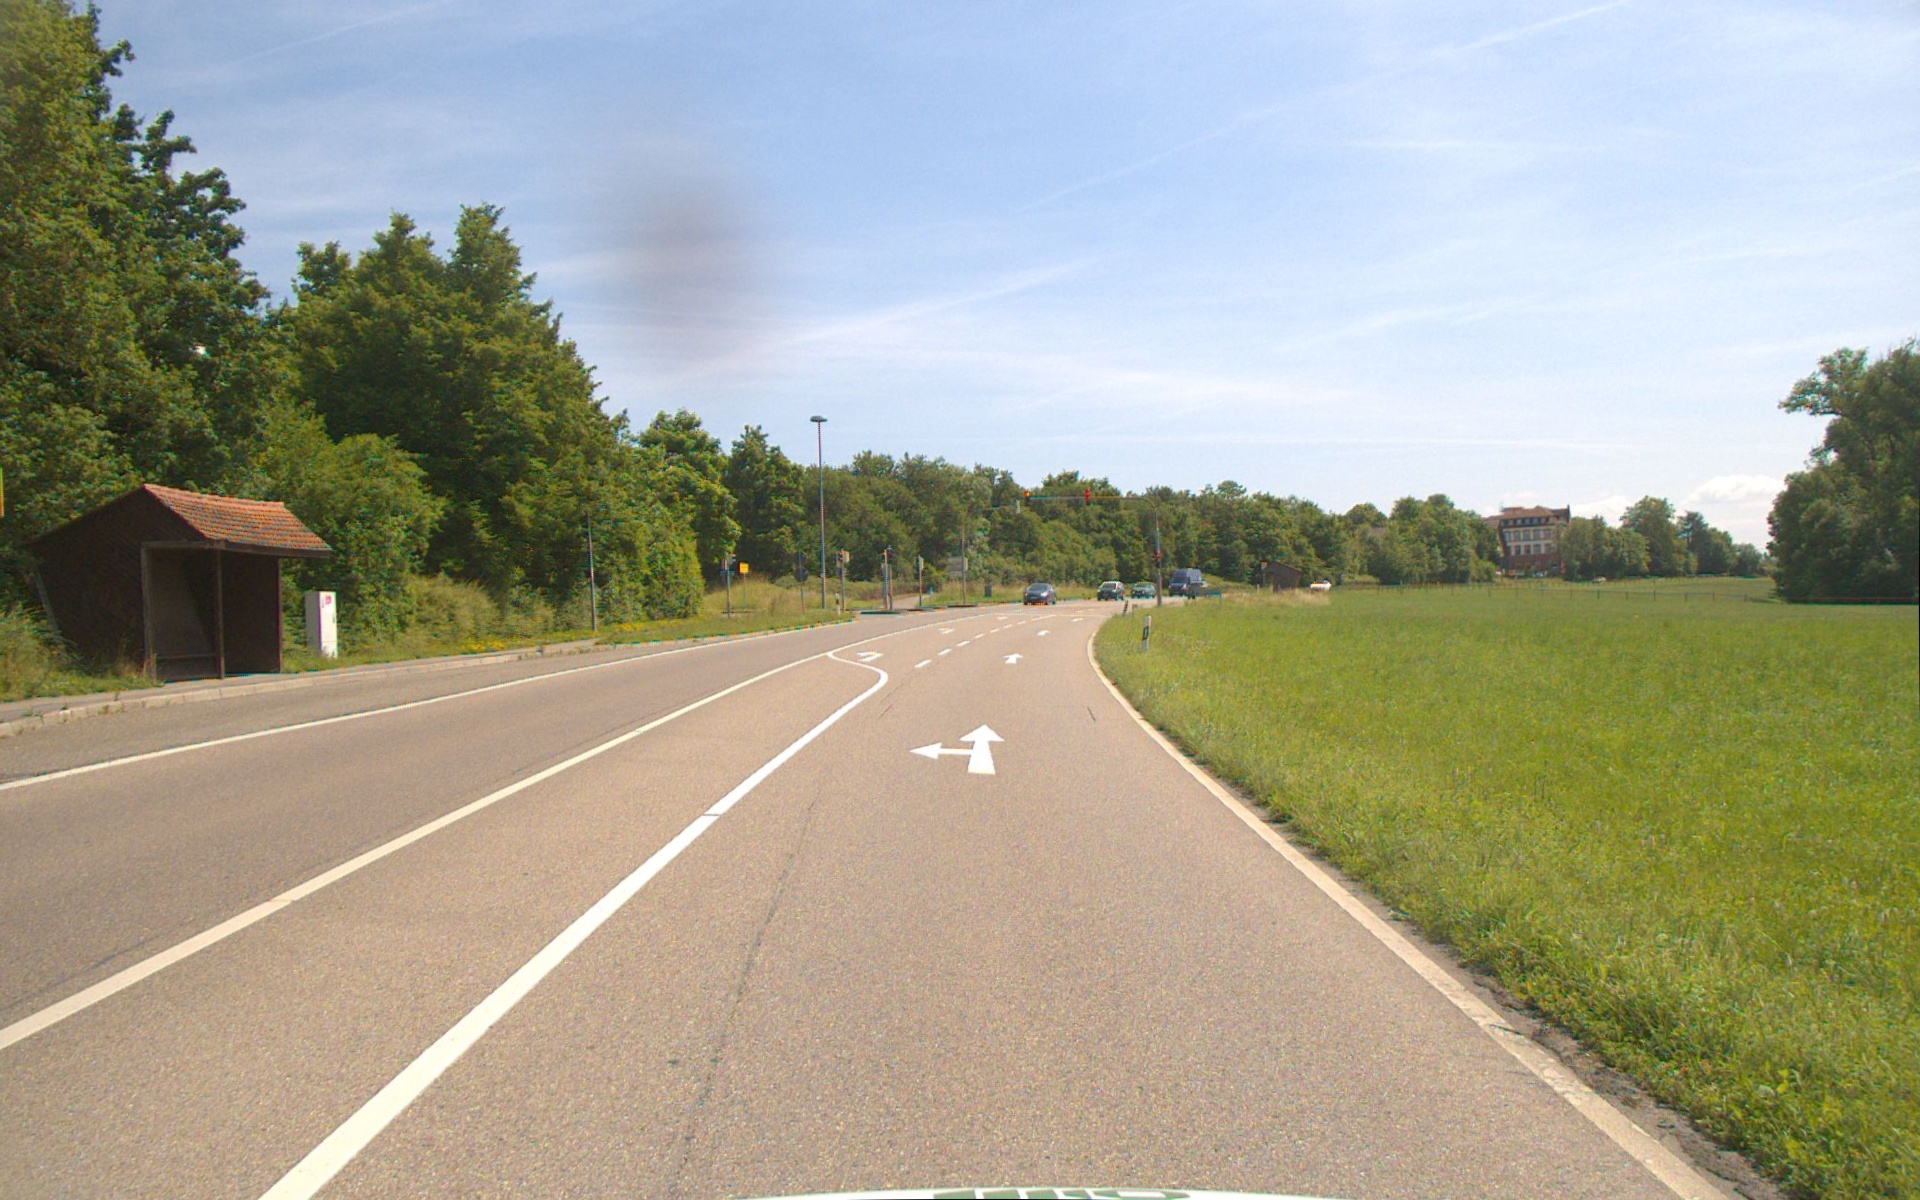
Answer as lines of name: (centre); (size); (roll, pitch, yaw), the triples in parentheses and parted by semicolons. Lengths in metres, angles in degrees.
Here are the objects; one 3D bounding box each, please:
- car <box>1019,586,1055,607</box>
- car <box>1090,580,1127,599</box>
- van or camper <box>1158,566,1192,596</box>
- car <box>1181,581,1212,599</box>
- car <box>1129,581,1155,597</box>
car: (5.440, -0.254, 116.695); (1.753, 1.500, 4.314); (0, 0, 13)
car: (12.632, -0.891, 140.317); (1.934, 1.589, 4.188); (0, 0, 23)
van or camper: (22.480, -2.031, 172.634); (2.192, 2.964, 7.252); (0, 2, 18)
car: (21.286, -0.908, 148.773); (1.952, 1.601, 4.001); (0, 0, 20)
car: (17.158, -1.015, 156.002); (1.671, 1.509, 3.833); (0, 0, 19)
